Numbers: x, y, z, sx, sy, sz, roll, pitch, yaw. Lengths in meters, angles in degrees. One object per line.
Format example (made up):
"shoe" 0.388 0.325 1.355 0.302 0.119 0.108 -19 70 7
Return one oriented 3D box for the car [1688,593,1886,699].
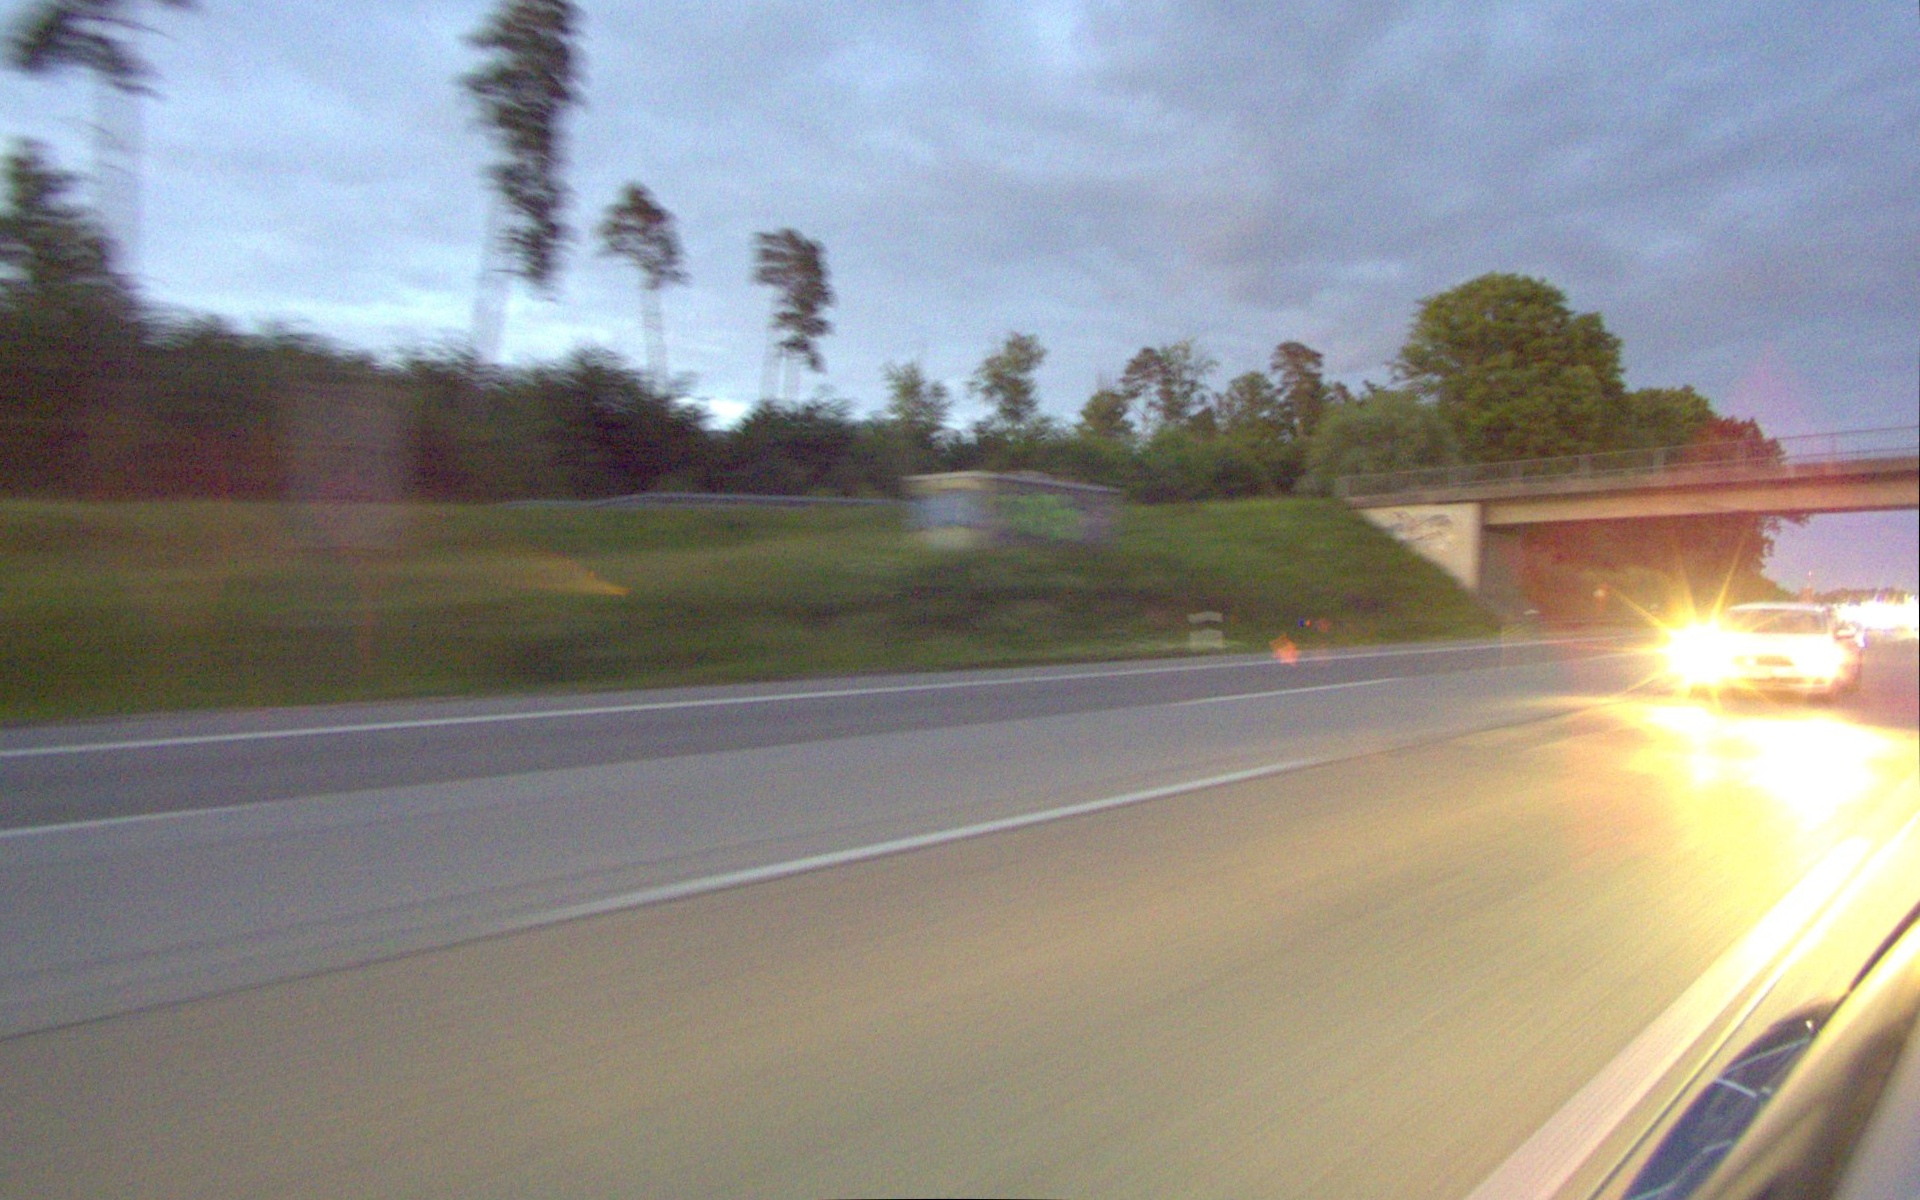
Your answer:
"car" 13.672 0.644 16.603 5.044 1.484 1.811 0 1 -42
